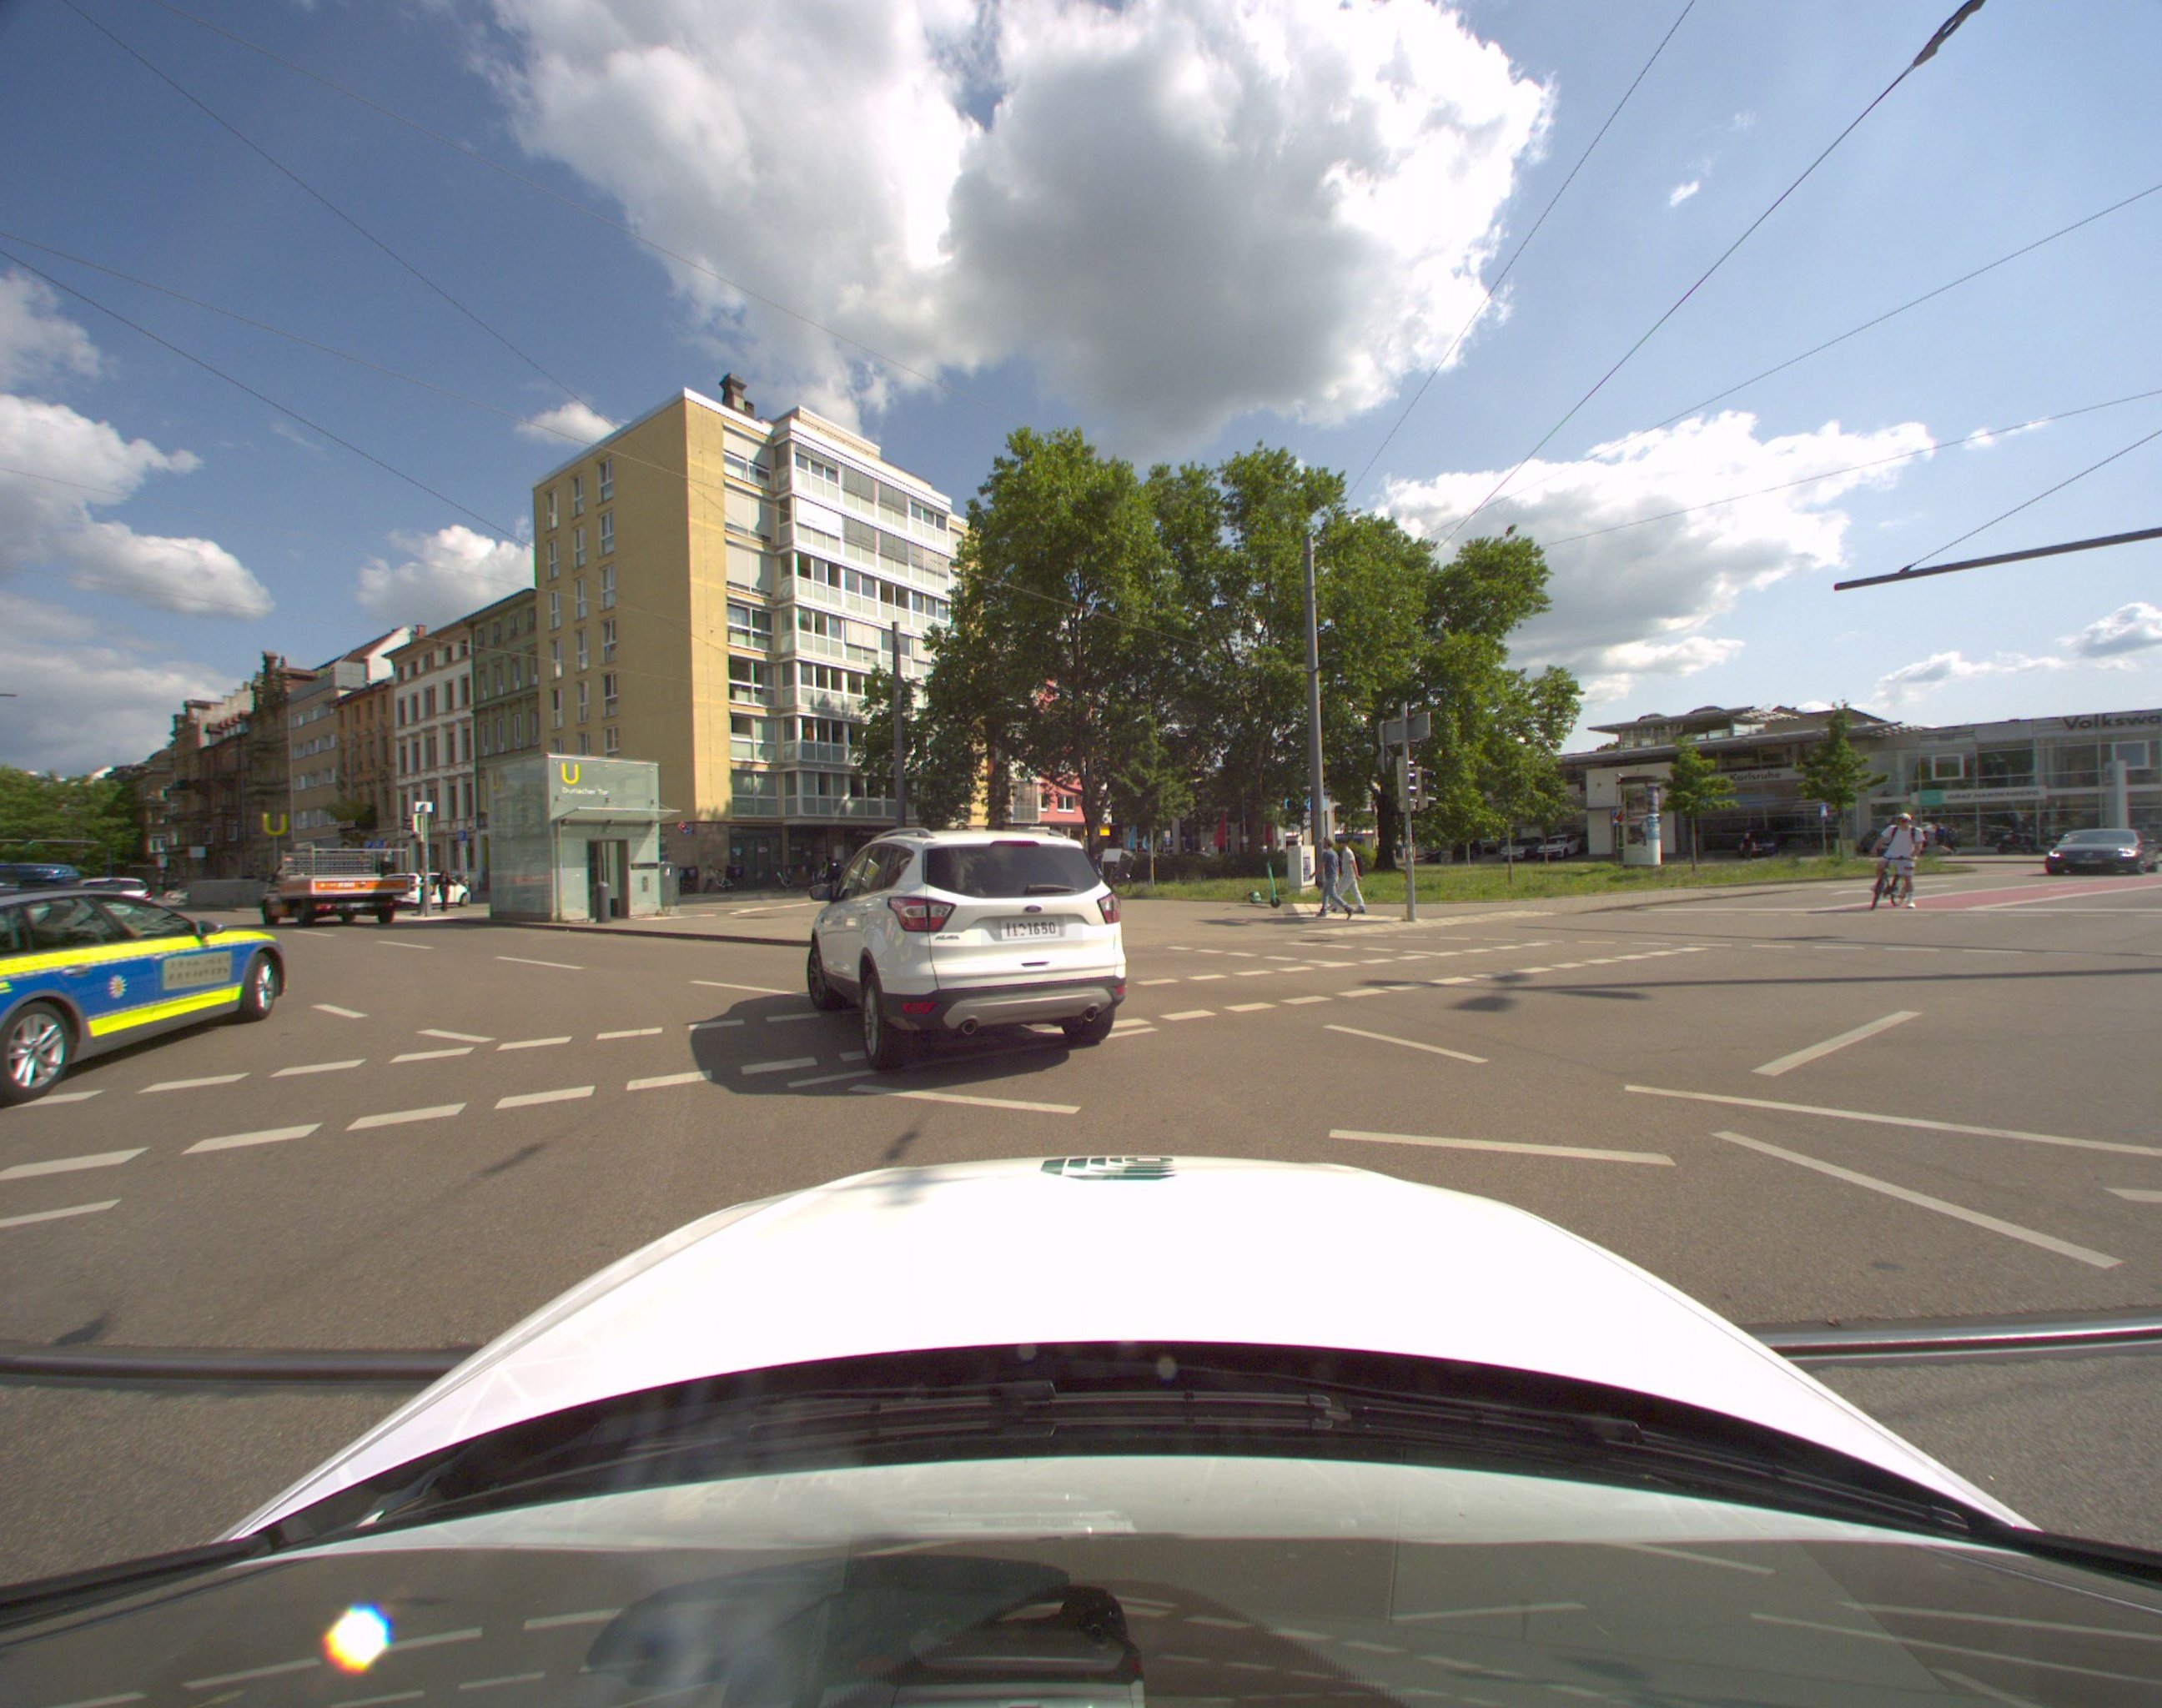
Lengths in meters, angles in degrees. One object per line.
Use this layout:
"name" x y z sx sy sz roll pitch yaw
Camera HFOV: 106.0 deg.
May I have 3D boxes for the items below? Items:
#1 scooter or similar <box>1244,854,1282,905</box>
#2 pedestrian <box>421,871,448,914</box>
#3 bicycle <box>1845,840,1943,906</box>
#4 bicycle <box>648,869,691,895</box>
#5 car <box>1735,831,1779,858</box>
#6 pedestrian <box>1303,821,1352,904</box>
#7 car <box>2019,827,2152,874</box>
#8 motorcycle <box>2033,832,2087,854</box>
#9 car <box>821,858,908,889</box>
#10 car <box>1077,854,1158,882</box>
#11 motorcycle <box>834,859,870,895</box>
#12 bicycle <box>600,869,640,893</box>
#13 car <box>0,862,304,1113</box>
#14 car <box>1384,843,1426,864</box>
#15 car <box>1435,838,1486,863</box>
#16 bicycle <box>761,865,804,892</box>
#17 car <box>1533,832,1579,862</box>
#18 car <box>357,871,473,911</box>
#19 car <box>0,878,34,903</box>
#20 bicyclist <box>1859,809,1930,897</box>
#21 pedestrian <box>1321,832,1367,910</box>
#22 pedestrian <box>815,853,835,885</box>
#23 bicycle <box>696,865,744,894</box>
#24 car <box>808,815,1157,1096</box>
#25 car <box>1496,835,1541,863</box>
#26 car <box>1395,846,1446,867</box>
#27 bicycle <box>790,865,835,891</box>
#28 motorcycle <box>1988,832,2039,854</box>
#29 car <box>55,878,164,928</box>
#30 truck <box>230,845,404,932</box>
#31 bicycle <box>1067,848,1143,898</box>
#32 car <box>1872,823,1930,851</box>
"scooter or similar" 4.494 0.601 20.129 0.399 1.193 1.168 0 1 -17
"pedestrian" -23.544 1.398 29.659 0.690 1.534 0.559 -3 -1 36
"bicycle" 16.006 0.355 16.025 2.156 1.192 0.755 -2 -1 -29
"bicycle" -18.654 1.261 36.921 1.787 1.104 0.801 -1 0 28
"car" 41.527 -0.552 50.003 1.801 1.534 3.940 -3 -2 43
"pedestrian" 5.310 0.177 17.548 0.915 1.743 0.593 0 1 26
"car" 31.443 -0.111 25.476 4.008 1.288 1.728 -2 -1 -26
"motorcycle" 51.213 -0.576 42.607 1.946 1.185 0.568 0 1 5
"car" -10.227 0.908 38.407 3.948 1.398 1.683 -1 -1 31
"car" 1.800 0.722 40.695 1.643 1.327 3.950 0 -2 -45
"motorcycle" -8.537 0.847 30.263 0.907 1.238 2.200 -3 1 -25
"bicycle" -22.333 1.299 39.438 1.787 1.104 0.801 -1 0 28
"car" -8.373 0.892 6.284 1.888 1.568 4.580 -2 0 -23
"car" 28.682 -0.022 72.198 1.832 1.790 3.994 -1 -1 -4
"car" 30.763 -0.287 65.870 5.097 1.937 1.949 -1 -2 -44
"bicycle" -13.404 1.089 36.515 1.787 1.147 0.802 -1 0 29
"car" 34.852 -0.492 59.751 1.974 2.014 4.256 -4 -2 43
"car" -27.161 1.471 33.368 1.892 1.496 3.889 -1 -1 -8
"car" -65.539 2.227 49.725 3.948 1.376 1.753 -1 0 35
"bicyclist" 16.086 -0.020 16.104 0.762 1.683 0.755 -2 -1 -28
"pedestrian" 5.989 0.366 18.546 0.915 1.743 0.593 0 1 28
"pedestrian" -13.291 0.764 42.265 0.861 1.607 0.825 0 1 -25
"bicycle" -16.590 1.150 37.482 0.787 1.258 1.821 -1 0 43
"car" -1.152 0.621 7.047 1.836 1.664 3.922 -2 0 -25
"car" 33.261 -0.368 61.871 1.949 1.937 4.256 -4 -2 43
"car" 31.522 0.241 75.661 1.850 1.790 3.957 -1 -1 -35
"bicycle" -12.271 1.087 37.219 1.925 1.147 0.802 -1 0 29
"motorcycle" 49.940 -0.597 43.610 1.946 1.185 0.568 0 1 5
"car" -32.491 1.600 27.216 3.948 1.474 1.866 -2 0 33
"truck" -21.495 0.908 22.847 5.775 2.155 2.361 -2 0 35
"bicycle" 0.705 0.558 24.525 2.147 1.414 0.817 0 1 32
"car" 49.796 -1.022 49.434 3.934 1.534 1.804 -1 -2 -36
